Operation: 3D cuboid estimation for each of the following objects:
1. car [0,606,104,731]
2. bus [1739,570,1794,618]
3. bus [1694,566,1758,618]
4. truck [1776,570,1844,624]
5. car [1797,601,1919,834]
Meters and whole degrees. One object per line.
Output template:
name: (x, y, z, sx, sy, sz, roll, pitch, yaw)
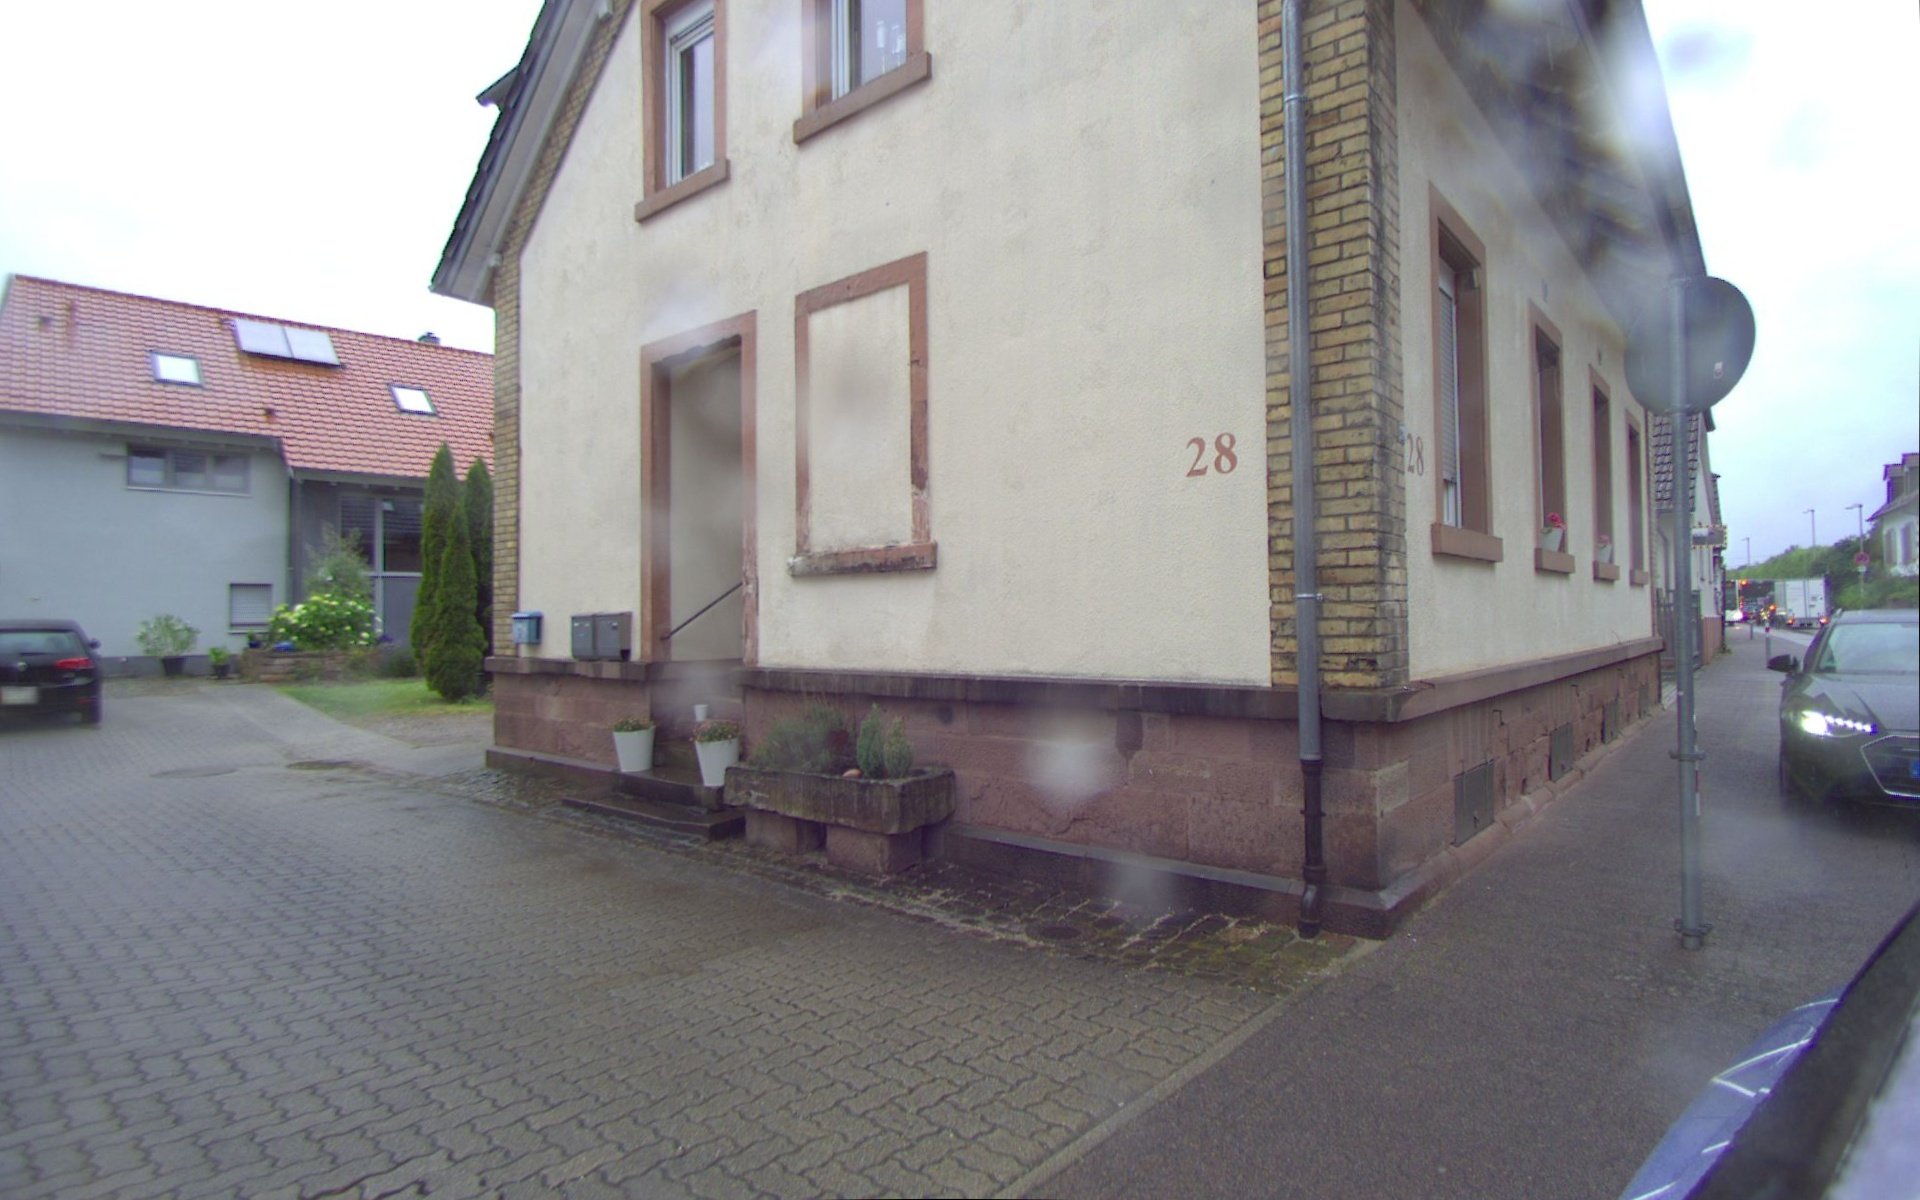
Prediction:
car: (-13.929, 0.926, 15.100, 1.656, 1.491, 3.993, 0, 2, -42)
bus: (60.229, -0.488, 75.760, 2.654, 3.273, 12.033, 0, 0, 36)
bus: (51.753, -0.559, 68.641, 2.651, 3.273, 12.045, 0, 0, 33)
truck: (42.620, -0.165, 50.867, 1.986, 2.536, 5.582, 0, 0, 34)
car: (7.385, 0.722, 7.535, 1.732, 1.388, 4.044, 0, 0, 39)
